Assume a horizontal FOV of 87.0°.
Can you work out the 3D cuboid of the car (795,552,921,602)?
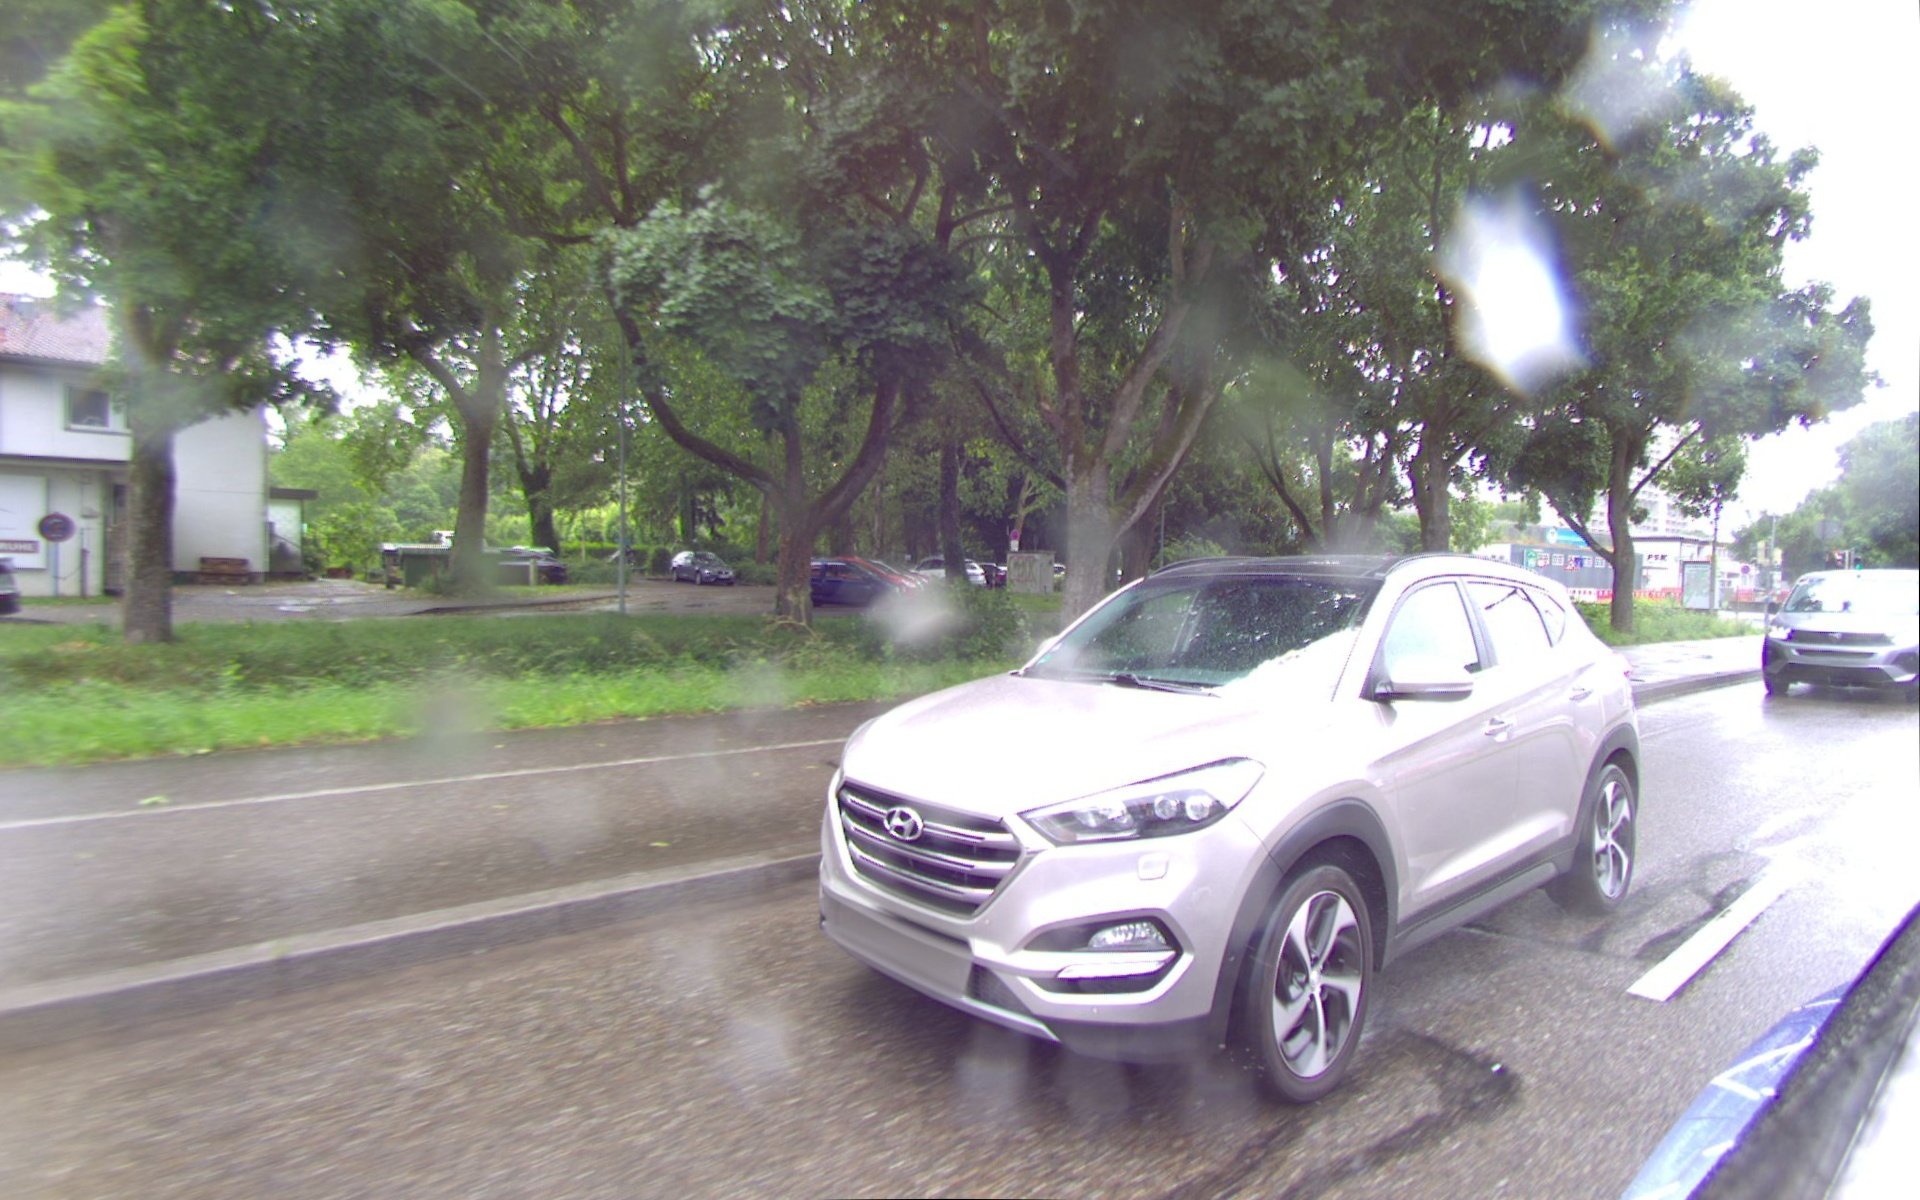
[{"bbox_3d":[-3.055,-0.688,30.811,3.681,1.467,1.670,0,1,1],"label":"car"}]

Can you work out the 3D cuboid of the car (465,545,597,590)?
[{"bbox_3d":[-15.327,-1.146,36.239,4.039,1.518,1.757,-1,1,-37],"label":"car"}]

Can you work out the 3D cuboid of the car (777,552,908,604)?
[{"bbox_3d":[-3.167,-0.591,27.636,3.330,1.369,1.522,0,1,6],"label":"car"}]

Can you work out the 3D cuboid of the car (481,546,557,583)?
[{"bbox_3d":[-18.254,-1.434,41.829,1.707,1.474,3.992,-1,1,-42],"label":"car"}]

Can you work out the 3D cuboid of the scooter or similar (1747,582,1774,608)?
[{"bbox_3d":[41.580,-0.273,52.562,0.315,1.244,0.962,0,5,-33],"label":"scooter or similar"}]

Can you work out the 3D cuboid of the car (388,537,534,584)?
[{"bbox_3d":[-14.900,-1.159,30.318,3.638,1.332,1.574,-1,1,-42],"label":"car"}]

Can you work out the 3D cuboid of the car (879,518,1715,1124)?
[{"bbox_3d":[1.839,0.544,4.778,4.122,1.630,1.888,-1,2,-40],"label":"car"}]

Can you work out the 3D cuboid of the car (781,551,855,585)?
[{"bbox_3d":[-7.248,-1.587,51.446,1.865,1.630,4.295,-1,1,-37],"label":"car"}]

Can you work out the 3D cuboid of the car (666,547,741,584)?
[{"bbox_3d":[-12.064,-1.573,47.416,1.885,1.630,4.295,-1,1,-37],"label":"car"}]

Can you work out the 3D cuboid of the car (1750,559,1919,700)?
[{"bbox_3d":[13.609,0.336,15.064,4.481,1.818,1.998,-1,1,-40],"label":"car"}]

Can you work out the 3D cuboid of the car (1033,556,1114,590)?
[{"bbox_3d":[5.387,-1.258,48.432,1.845,1.544,4.004,-1,1,-30],"label":"car"}]

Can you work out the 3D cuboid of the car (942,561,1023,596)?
[{"bbox_3d":[0.935,-0.942,44.489,1.639,1.467,3.720,-1,1,-37],"label":"car"}]

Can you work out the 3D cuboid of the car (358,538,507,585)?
[{"bbox_3d":[-16.721,-1.204,32.173,3.931,1.402,1.586,-1,1,-41],"label":"car"}]

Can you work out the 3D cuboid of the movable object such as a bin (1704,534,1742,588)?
[{"bbox_3d":[64.534,-3.256,85.585,3.836,4.481,1.558,-1,1,-37],"label":"movable object such as a bin"}]

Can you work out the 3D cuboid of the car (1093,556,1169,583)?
[{"bbox_3d":[10.568,-1.863,62.768,1.891,1.651,4.598,-1,1,-38],"label":"car"}]

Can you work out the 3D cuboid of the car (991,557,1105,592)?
[{"bbox_3d":[3.918,-1.138,45.973,2.127,1.467,5.416,-1,1,-36],"label":"car"}]

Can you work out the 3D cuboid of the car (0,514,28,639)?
[{"bbox_3d":[-15.662,-0.346,13.389,4.794,1.738,1.998,-1,3,-41],"label":"car"}]

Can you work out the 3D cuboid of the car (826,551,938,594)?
[{"bbox_3d":[-2.732,-0.949,35.884,3.691,1.467,1.665,0,1,10],"label":"car"}]

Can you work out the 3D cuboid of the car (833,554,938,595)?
[{"bbox_3d":[-2.763,-0.954,37.942,3.691,1.467,1.599,0,1,10],"label":"car"}]
